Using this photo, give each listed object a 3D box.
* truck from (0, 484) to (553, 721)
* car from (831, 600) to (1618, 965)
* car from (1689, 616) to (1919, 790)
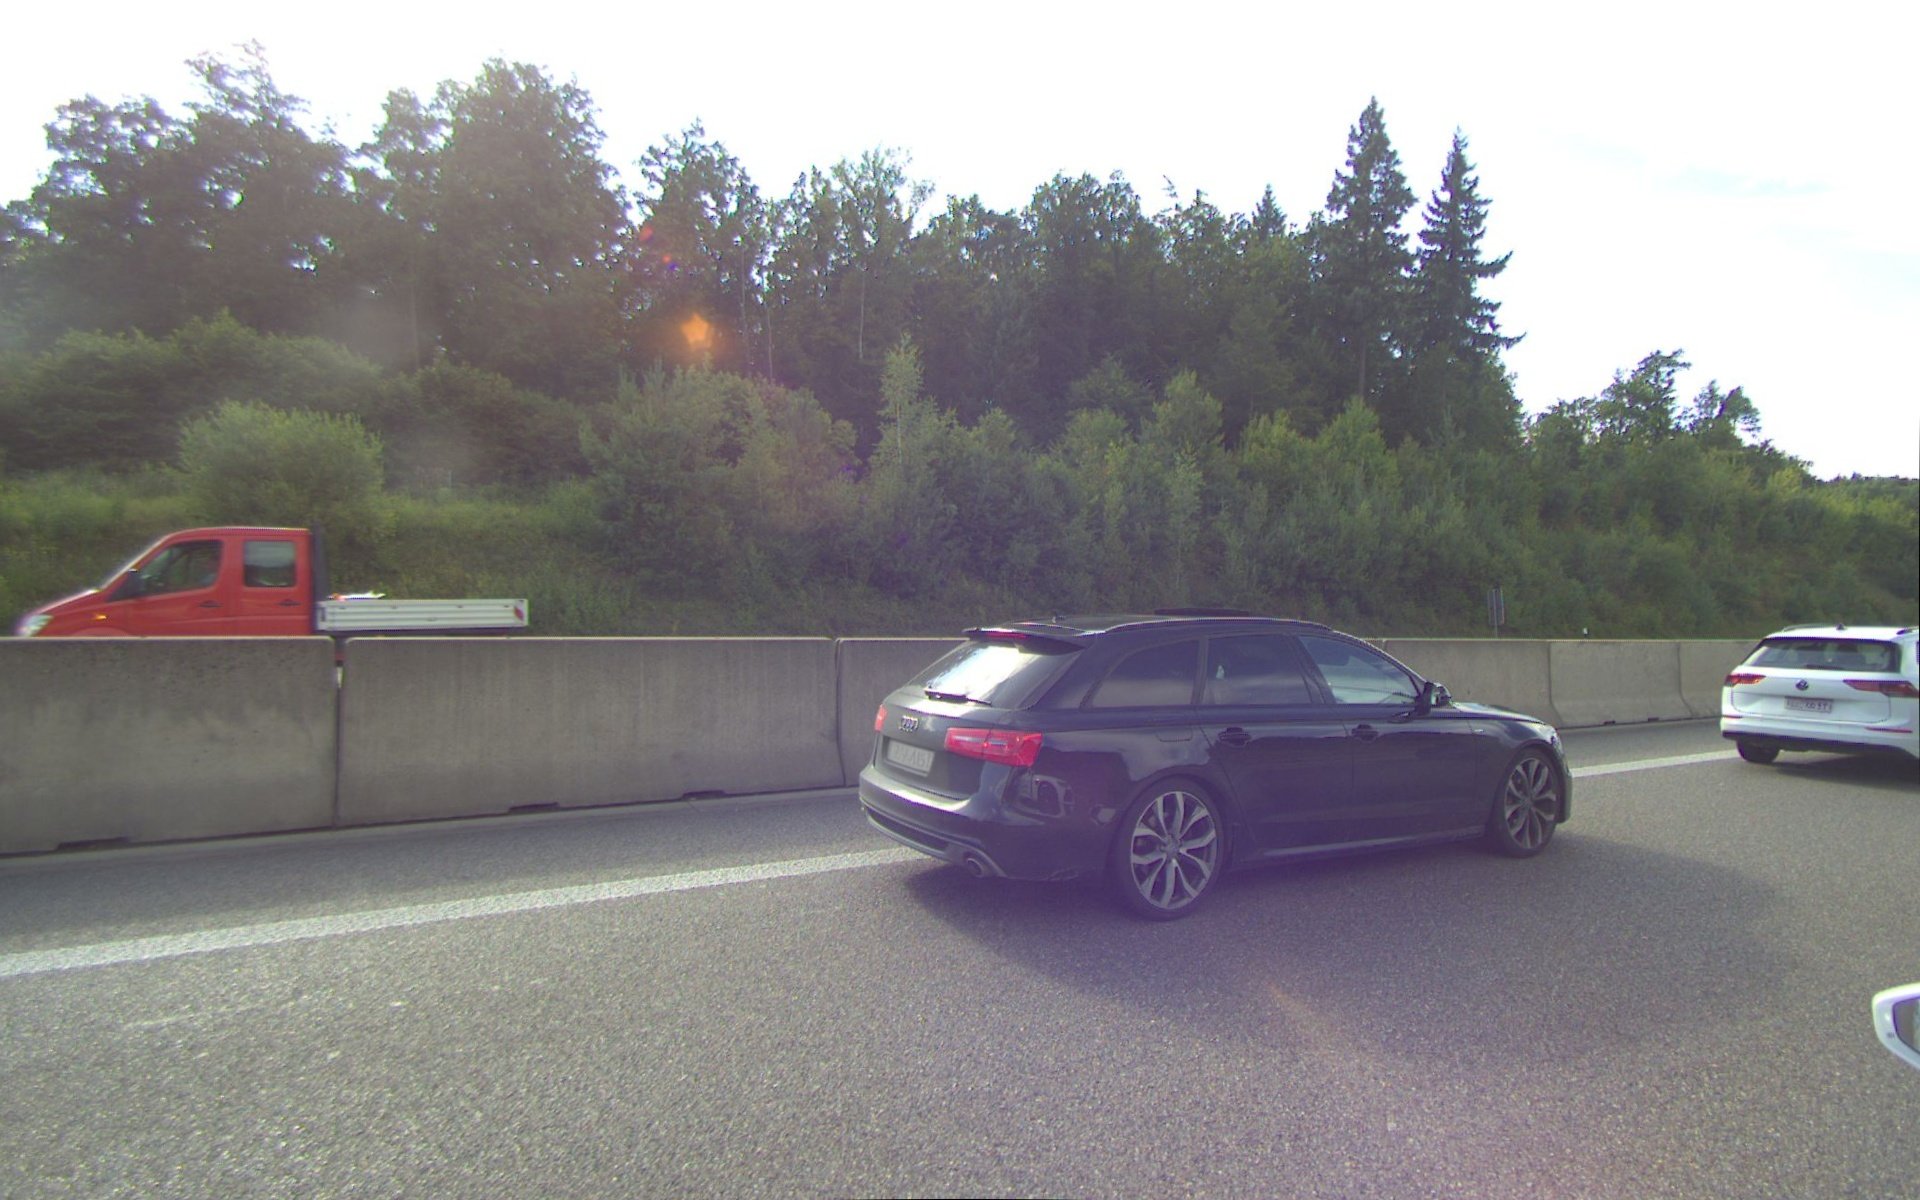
[{"bbox_3d":[-9.625,0.081,14.889,6.356,2.893,2.411,1,0,-31],"label":"truck"},{"bbox_3d":[1.750,0.794,6.092,4.691,1.475,1.834,1,0,-30],"label":"car"},{"bbox_3d":[9.768,0.970,10.556,4.256,1.480,1.797,2,-1,-29],"label":"car"}]
